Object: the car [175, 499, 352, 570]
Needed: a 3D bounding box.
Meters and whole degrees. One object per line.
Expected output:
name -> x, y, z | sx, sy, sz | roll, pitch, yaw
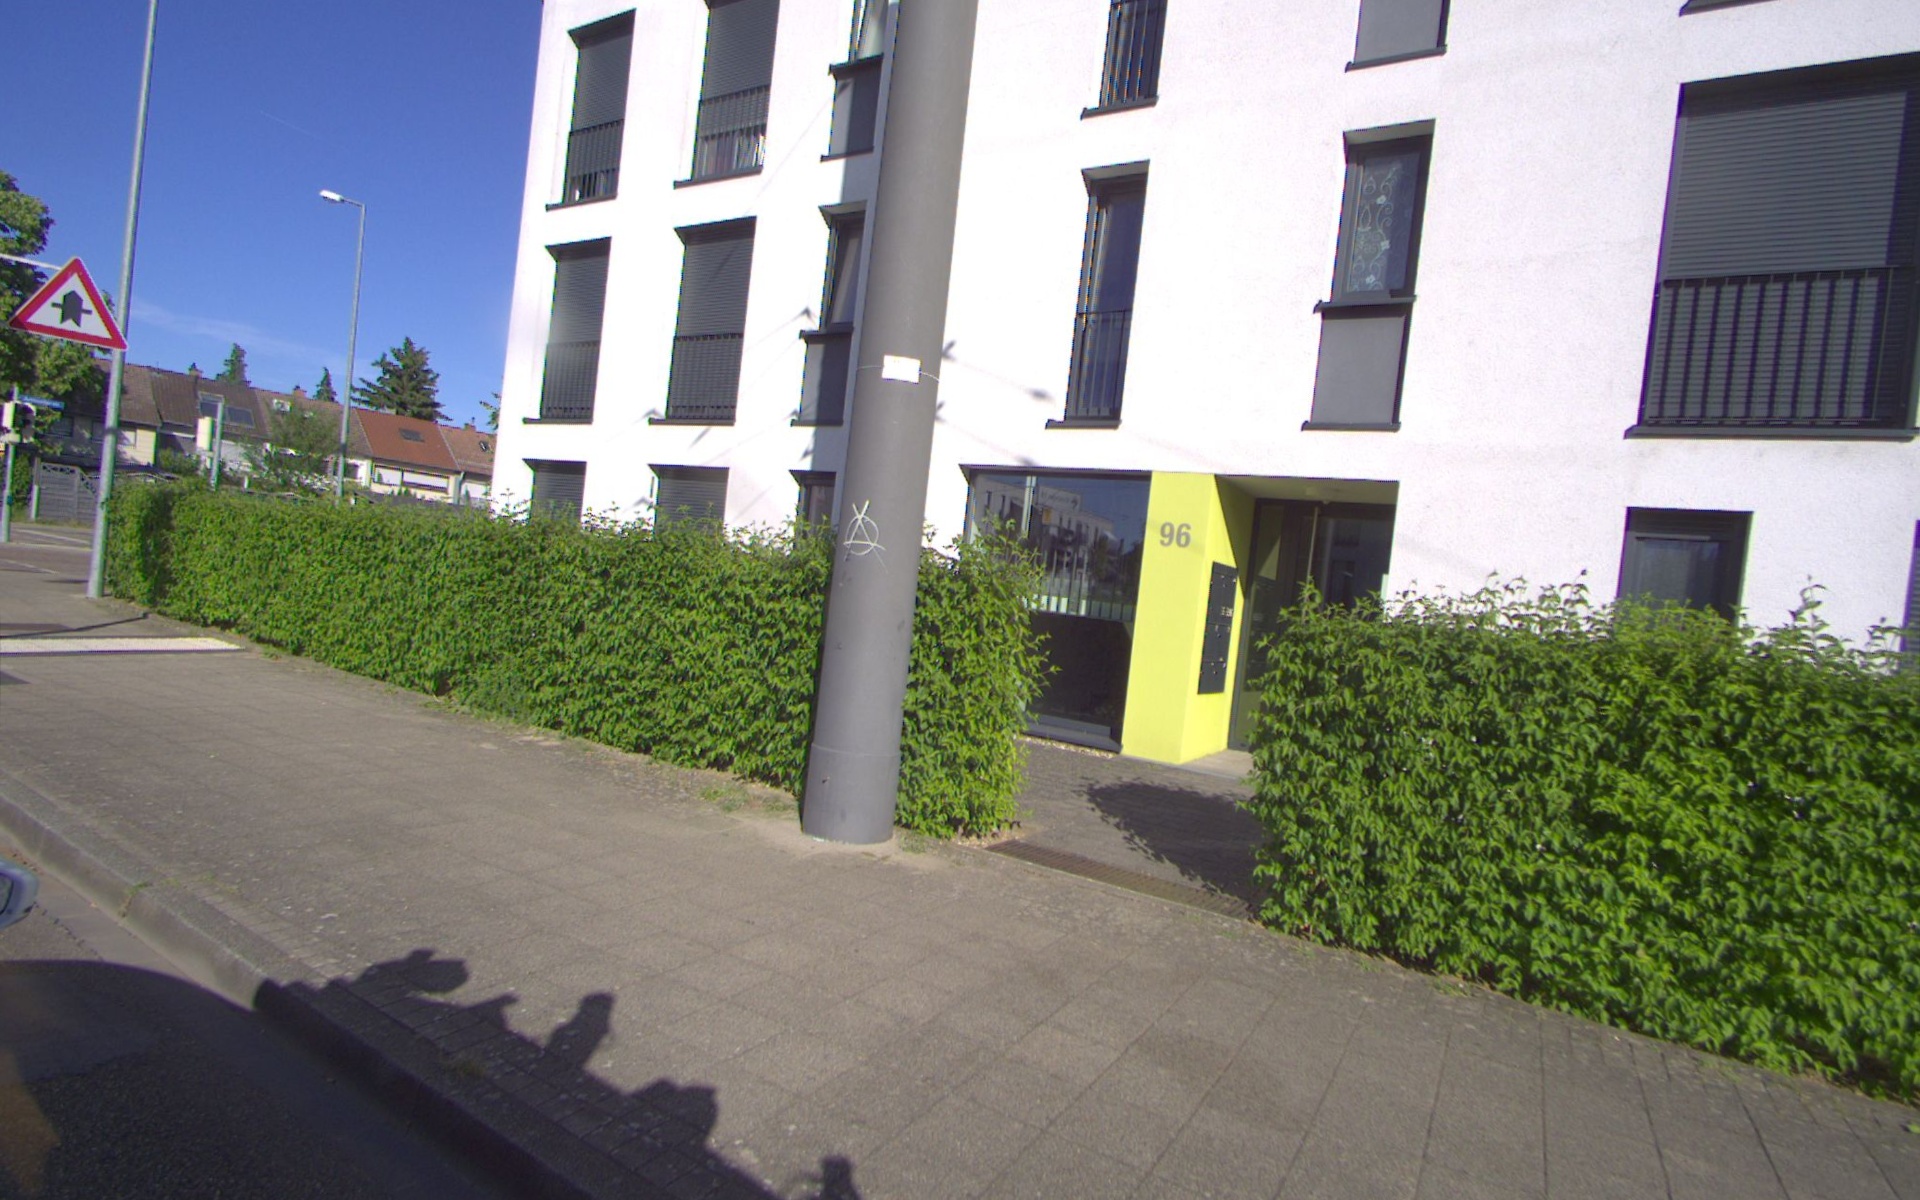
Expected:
car -> -21.991, -2.035, 31.886 | 1.917, 1.608, 4.165 | 7, 0, 38
